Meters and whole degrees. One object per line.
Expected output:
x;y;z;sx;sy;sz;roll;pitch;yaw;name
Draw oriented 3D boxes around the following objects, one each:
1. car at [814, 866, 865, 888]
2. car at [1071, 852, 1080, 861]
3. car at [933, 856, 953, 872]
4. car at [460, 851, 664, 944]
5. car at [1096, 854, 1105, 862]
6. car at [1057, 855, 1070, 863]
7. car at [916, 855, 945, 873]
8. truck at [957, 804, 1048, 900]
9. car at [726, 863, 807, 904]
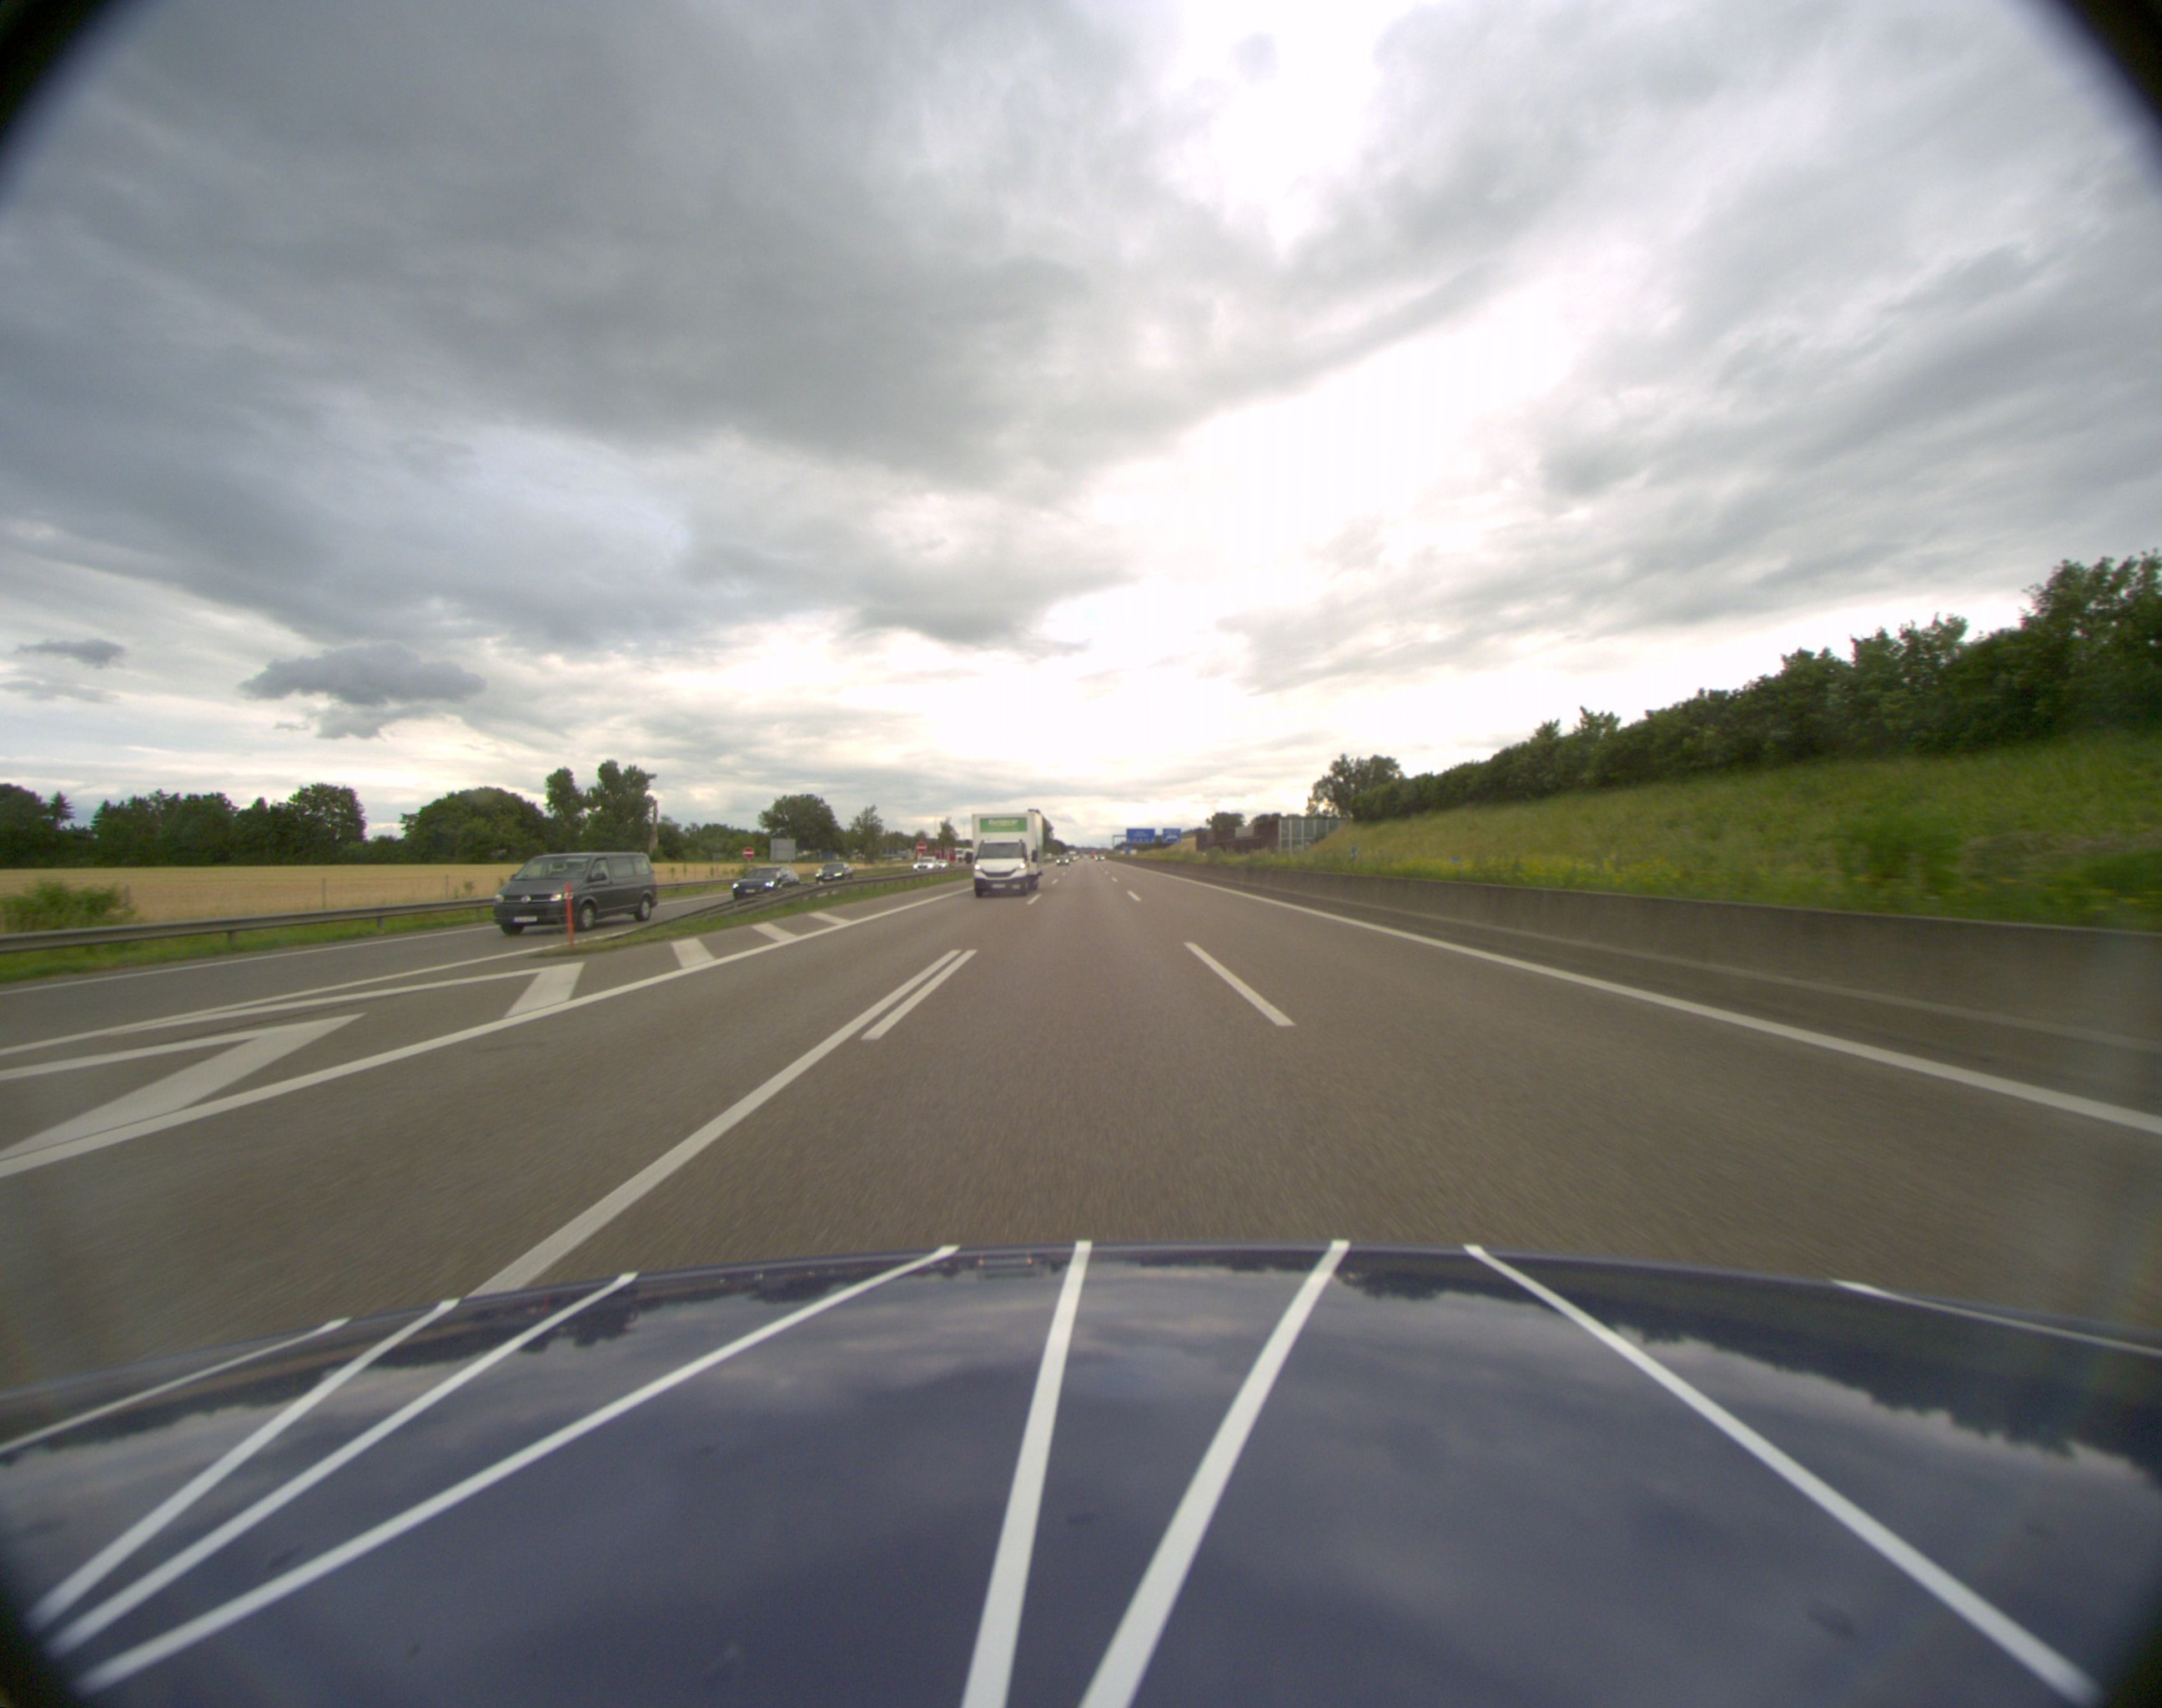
-17.644;1.648;55.751;1.832;1.308;5.714;-2;0;1;car
-1.216;0.634;181.388;1.998;2.002;4.000;0;0;1;car
-19.402;1.383;107.156;1.982;2.002;4.000;-3;1;1;car
-13.114;0.984;19.713;2.150;2.051;4.955;-2;0;-5;car
4.803;1.039;186.374;1.998;2.002;4.000;0;0;1;car
-2.666;0.808;115.618;1.781;1.180;4.000;-1;0;0;car
-15.115;0.996;76.538;1.832;1.746;5.065;-1;0;0;car
-3.135;-0.090;32.794;2.777;3.484;9.061;-2;0;1;truck
-13.600;1.225;33.134;1.755;1.476;4.591;-2;0;-3;car
